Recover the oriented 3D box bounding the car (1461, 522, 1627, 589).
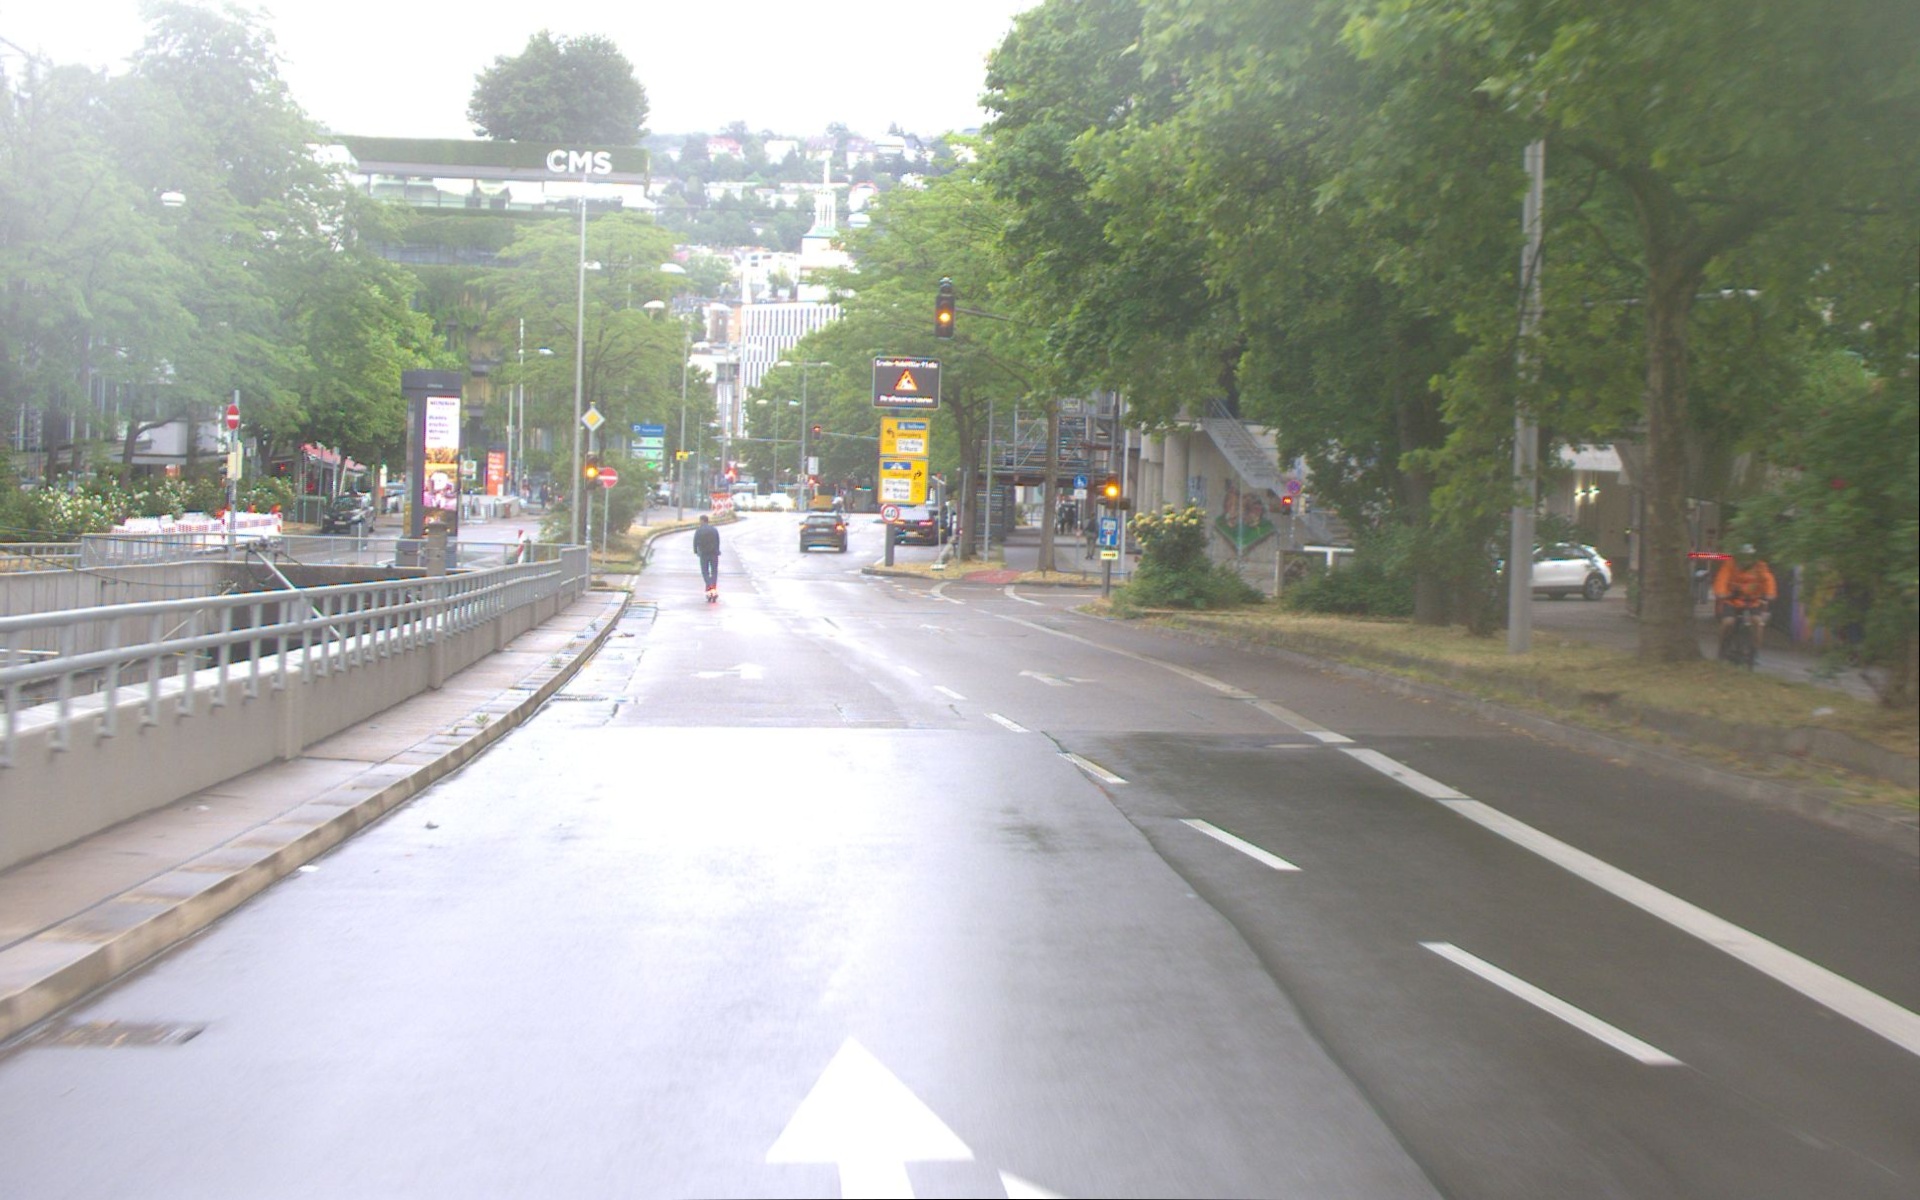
[{"bbox_3d":[16.283,-1.230,95.774,4.342,1.678,1.752,2,1,-29],"label":"car"}]

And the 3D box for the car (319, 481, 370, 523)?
[{"bbox_3d":[-26.297,-4.204,146.963,1.780,1.550,3.895,2,3,-5],"label":"car"}]

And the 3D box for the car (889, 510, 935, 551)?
[{"bbox_3d":[-2.075,-3.011,148.743,1.901,1.678,3.911,3,1,0],"label":"car"}]

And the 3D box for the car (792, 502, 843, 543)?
[{"bbox_3d":[-5.556,-3.015,133.613,1.745,1.514,4.107,2,1,-5],"label":"car"}]

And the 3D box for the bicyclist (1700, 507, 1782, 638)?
[{"bbox_3d":[9.929,-0.359,43.746,0.806,1.622,1.046,1,1,3],"label":"bicyclist"}]

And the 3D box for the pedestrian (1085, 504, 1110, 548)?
[{"bbox_3d":[5.006,-2.693,125.393,0.786,1.552,0.533,3,1,-2],"label":"pedestrian"}]

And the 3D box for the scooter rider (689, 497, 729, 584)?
[{"bbox_3d":[-5.702,-1.356,78.106,0.808,1.941,0.822,2,1,-5],"label":"scooter rider"}]

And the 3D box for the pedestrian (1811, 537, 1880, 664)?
[{"bbox_3d":[13.147,-0.009,51.063,0.807,1.858,1.056,1,1,5],"label":"pedestrian"}]

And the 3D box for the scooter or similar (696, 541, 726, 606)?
[{"bbox_3d":[-5.634,-0.605,77.775,0.546,1.413,1.956,2,1,-6],"label":"scooter or similar"}]

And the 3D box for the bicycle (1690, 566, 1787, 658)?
[{"bbox_3d":[9.911,0.136,43.841,0.806,1.108,2.198,1,1,3],"label":"bicycle"}]
